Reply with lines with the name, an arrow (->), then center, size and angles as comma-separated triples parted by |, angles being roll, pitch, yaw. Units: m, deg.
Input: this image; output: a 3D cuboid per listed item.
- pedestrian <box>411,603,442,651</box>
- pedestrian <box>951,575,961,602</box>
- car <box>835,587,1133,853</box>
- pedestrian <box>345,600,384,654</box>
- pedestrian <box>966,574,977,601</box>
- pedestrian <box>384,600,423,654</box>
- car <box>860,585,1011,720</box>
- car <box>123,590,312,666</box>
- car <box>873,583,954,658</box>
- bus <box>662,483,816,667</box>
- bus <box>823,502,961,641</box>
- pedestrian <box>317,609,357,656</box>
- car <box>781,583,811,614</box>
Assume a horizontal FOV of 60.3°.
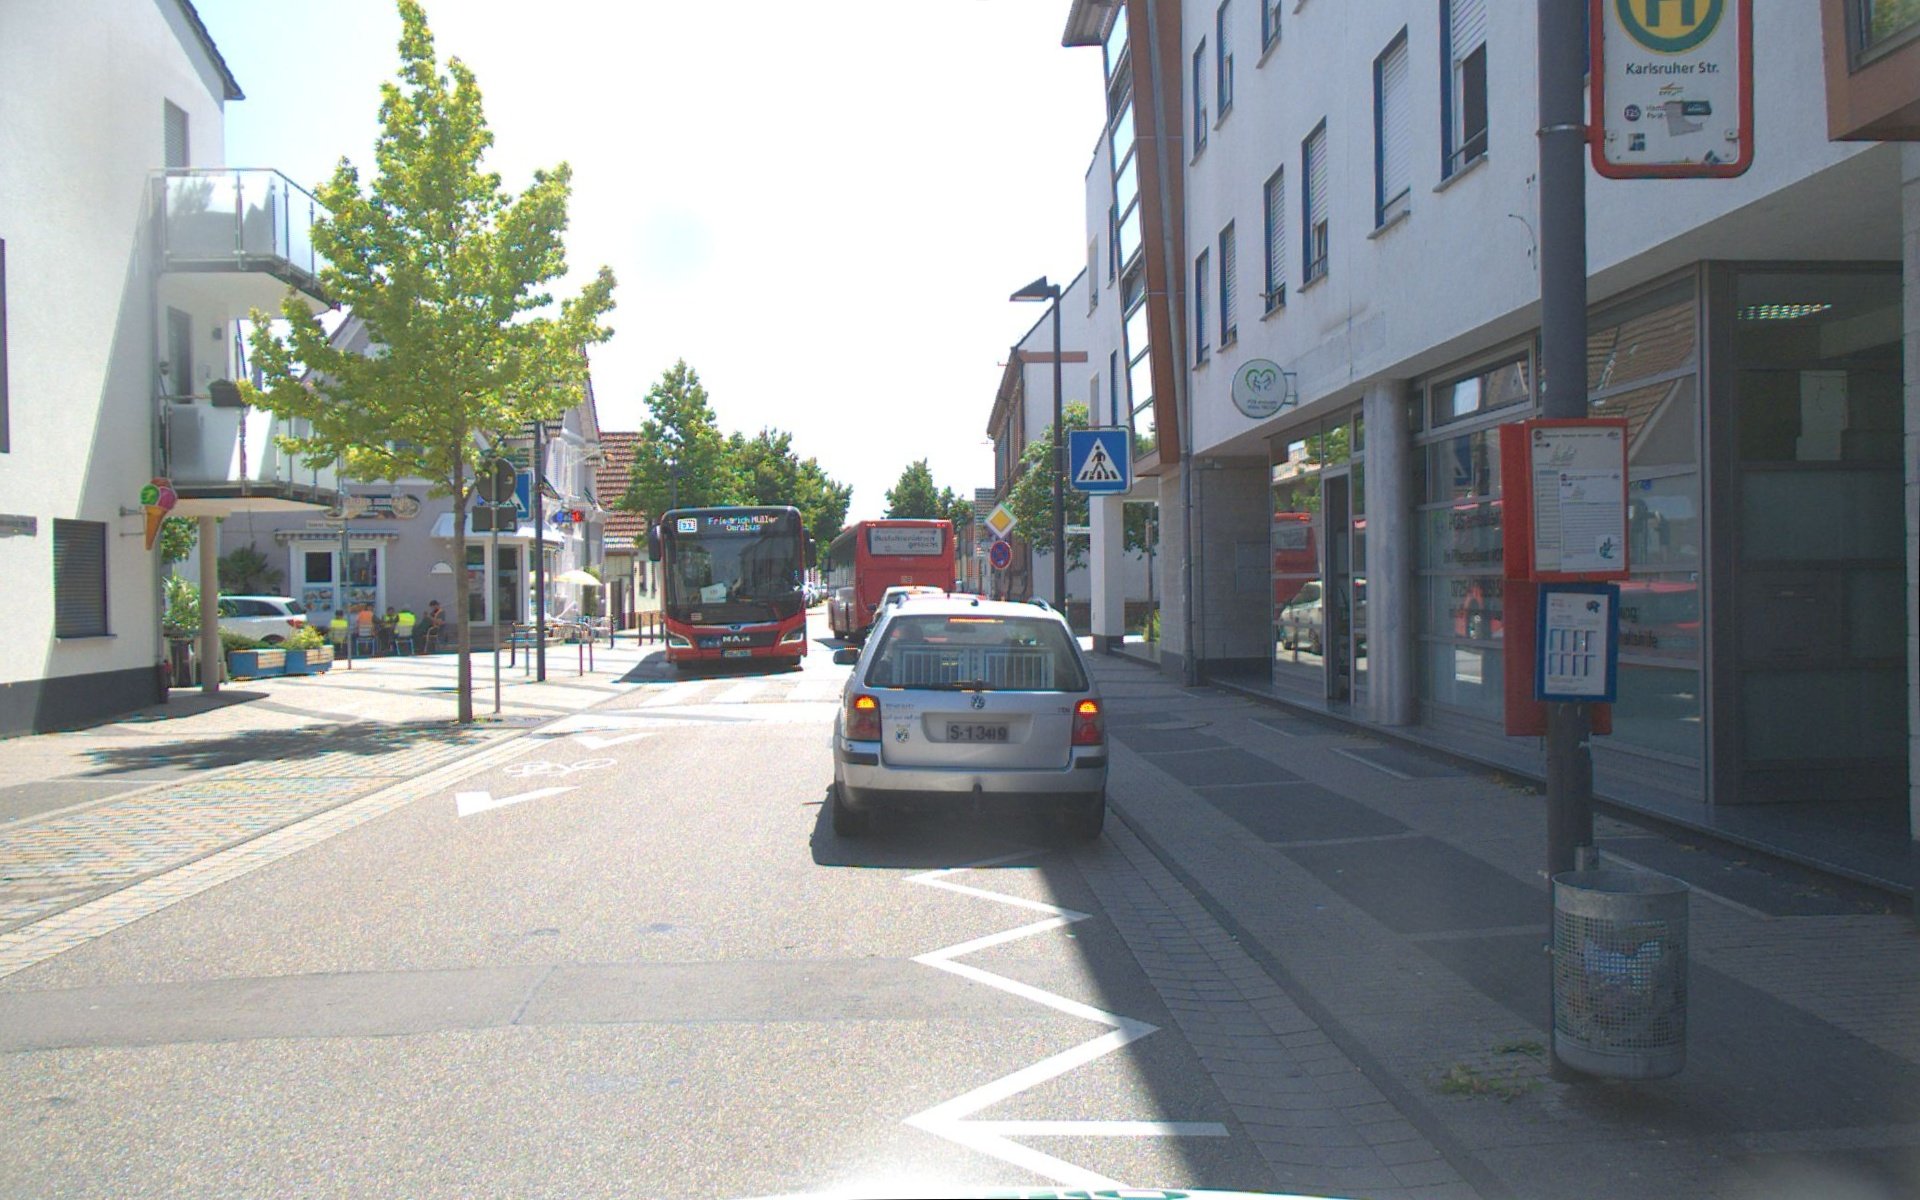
pedestrian -> -13.641, 0.677, 42.278 | 0.610, 1.199, 0.695 | -1, 0, -7
pedestrian -> -0.253, -0.730, 103.362 | 0.594, 1.696, 0.789 | -1, 0, -4
car -> 0.062, 0.664, 11.157 | 1.643, 1.455, 3.678 | 2, 0, -3
pedestrian -> -14.854, 0.666, 41.251 | 0.776, 1.311, 0.631 | 1, 0, 44
pedestrian -> 0.708, -0.784, 102.962 | 0.594, 1.696, 0.789 | -1, 0, -4
pedestrian -> -13.842, 0.674, 41.144 | 0.776, 1.311, 0.631 | 1, 0, 44
car -> -0.345, 0.556, 20.025 | 1.643, 1.455, 3.678 | -1, 1, -3
car -> -17.297, 0.628, 38.701 | 3.857, 1.572, 1.510 | -2, 2, -20
car -> -0.945, 0.383, 33.817 | 1.561, 1.455, 3.678 | 0, 0, -2
bus -> -5.036, -0.487, 37.664 | 2.618, 3.178, 17.775 | -1, 0, -8
bus -> -2.150, -0.721, 46.370 | 2.688, 3.356, 12.683 | -1, 0, -8
pedestrian -> -15.269, 0.795, 40.544 | 0.776, 1.135, 0.631 | 1, 0, 44
car -> -11.053, -0.115, 111.636 | 1.775, 2.030, 3.998 | -1, 1, -3
